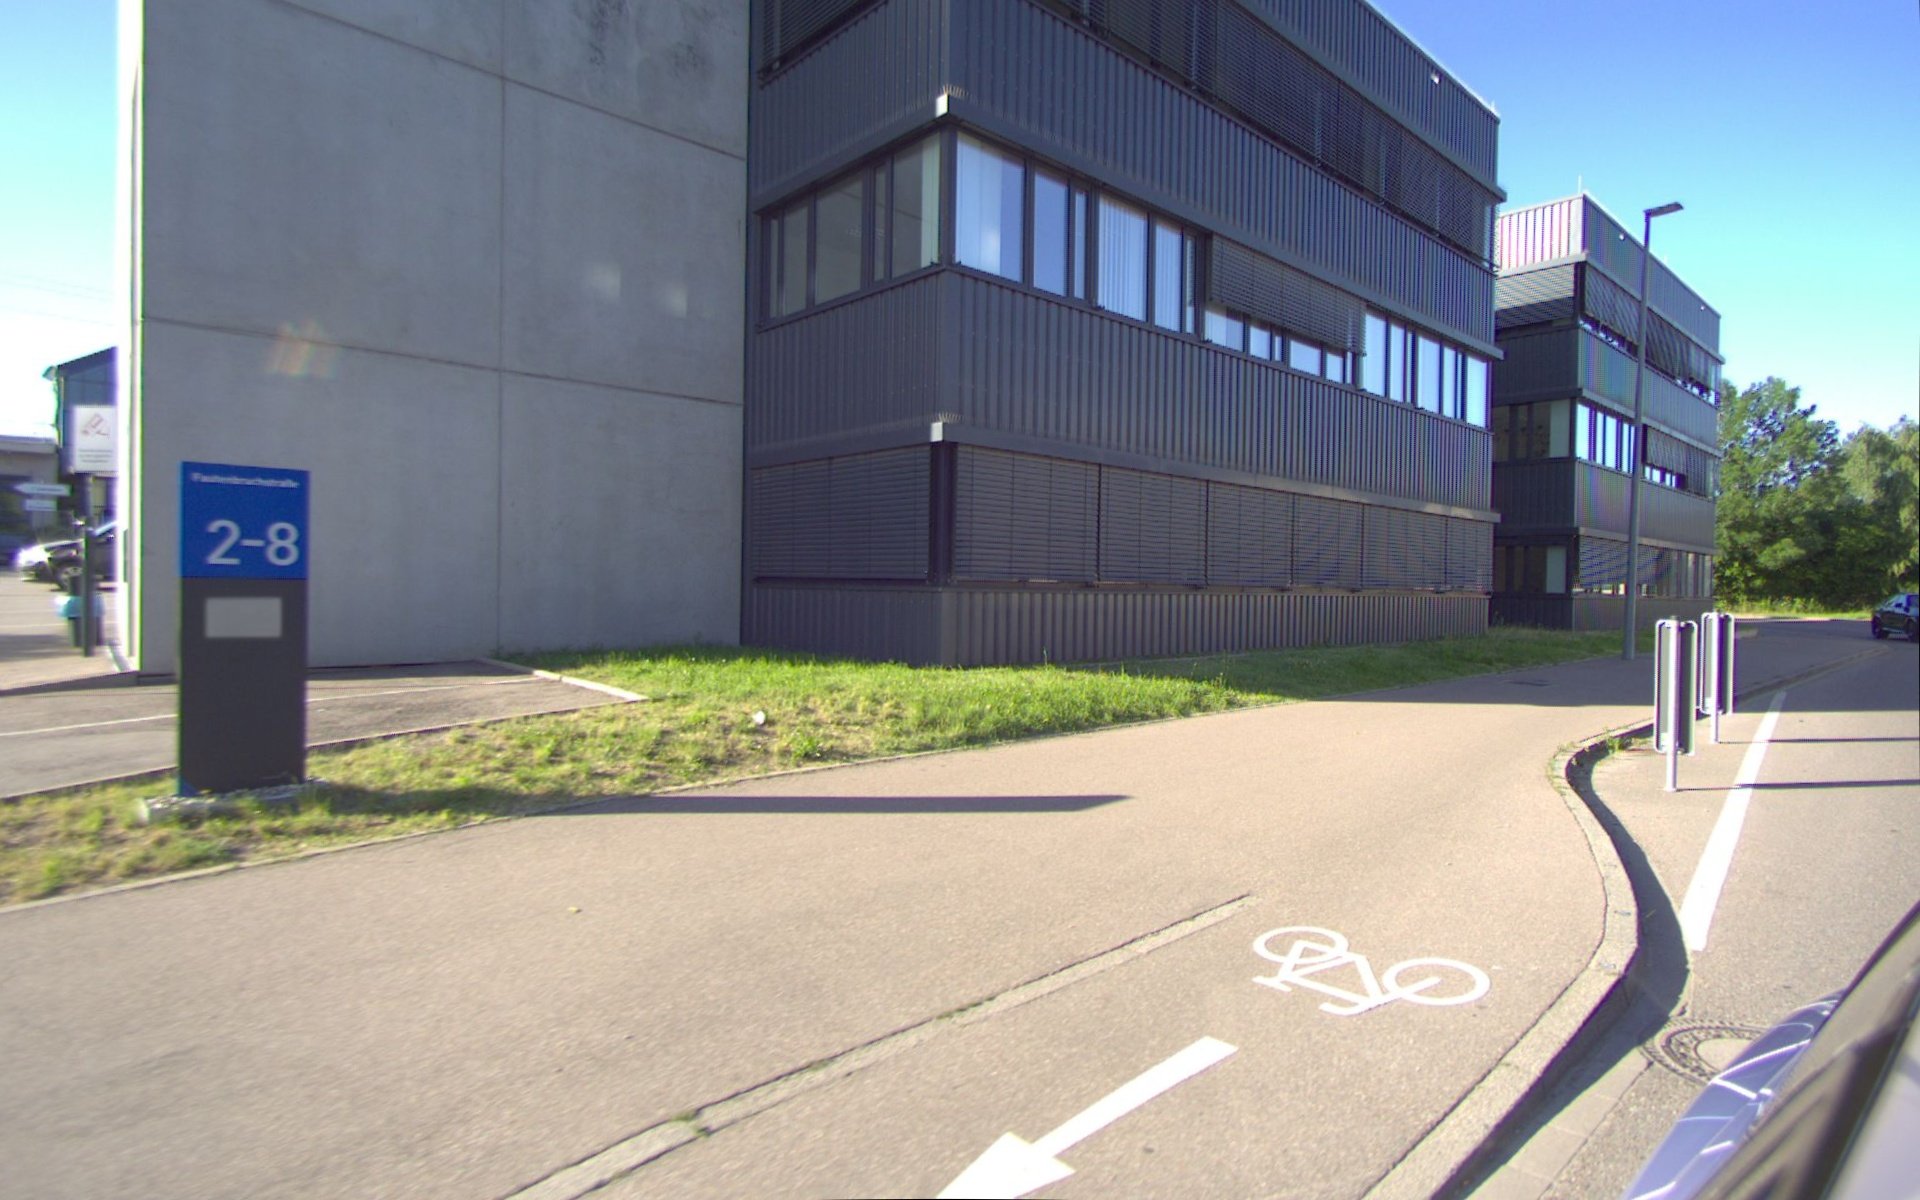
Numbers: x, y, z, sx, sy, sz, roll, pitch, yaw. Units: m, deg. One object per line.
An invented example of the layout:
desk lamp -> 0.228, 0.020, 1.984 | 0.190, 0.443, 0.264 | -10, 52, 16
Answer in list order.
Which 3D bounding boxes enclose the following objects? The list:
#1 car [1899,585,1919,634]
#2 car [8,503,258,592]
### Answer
car -> 34.356, 0.335, 35.006 | 2.024, 1.653, 4.558 | 1, 2, 34
car -> -18.611, -1.167, 22.898 | 4.245, 1.801, 1.871 | -2, 4, -44
